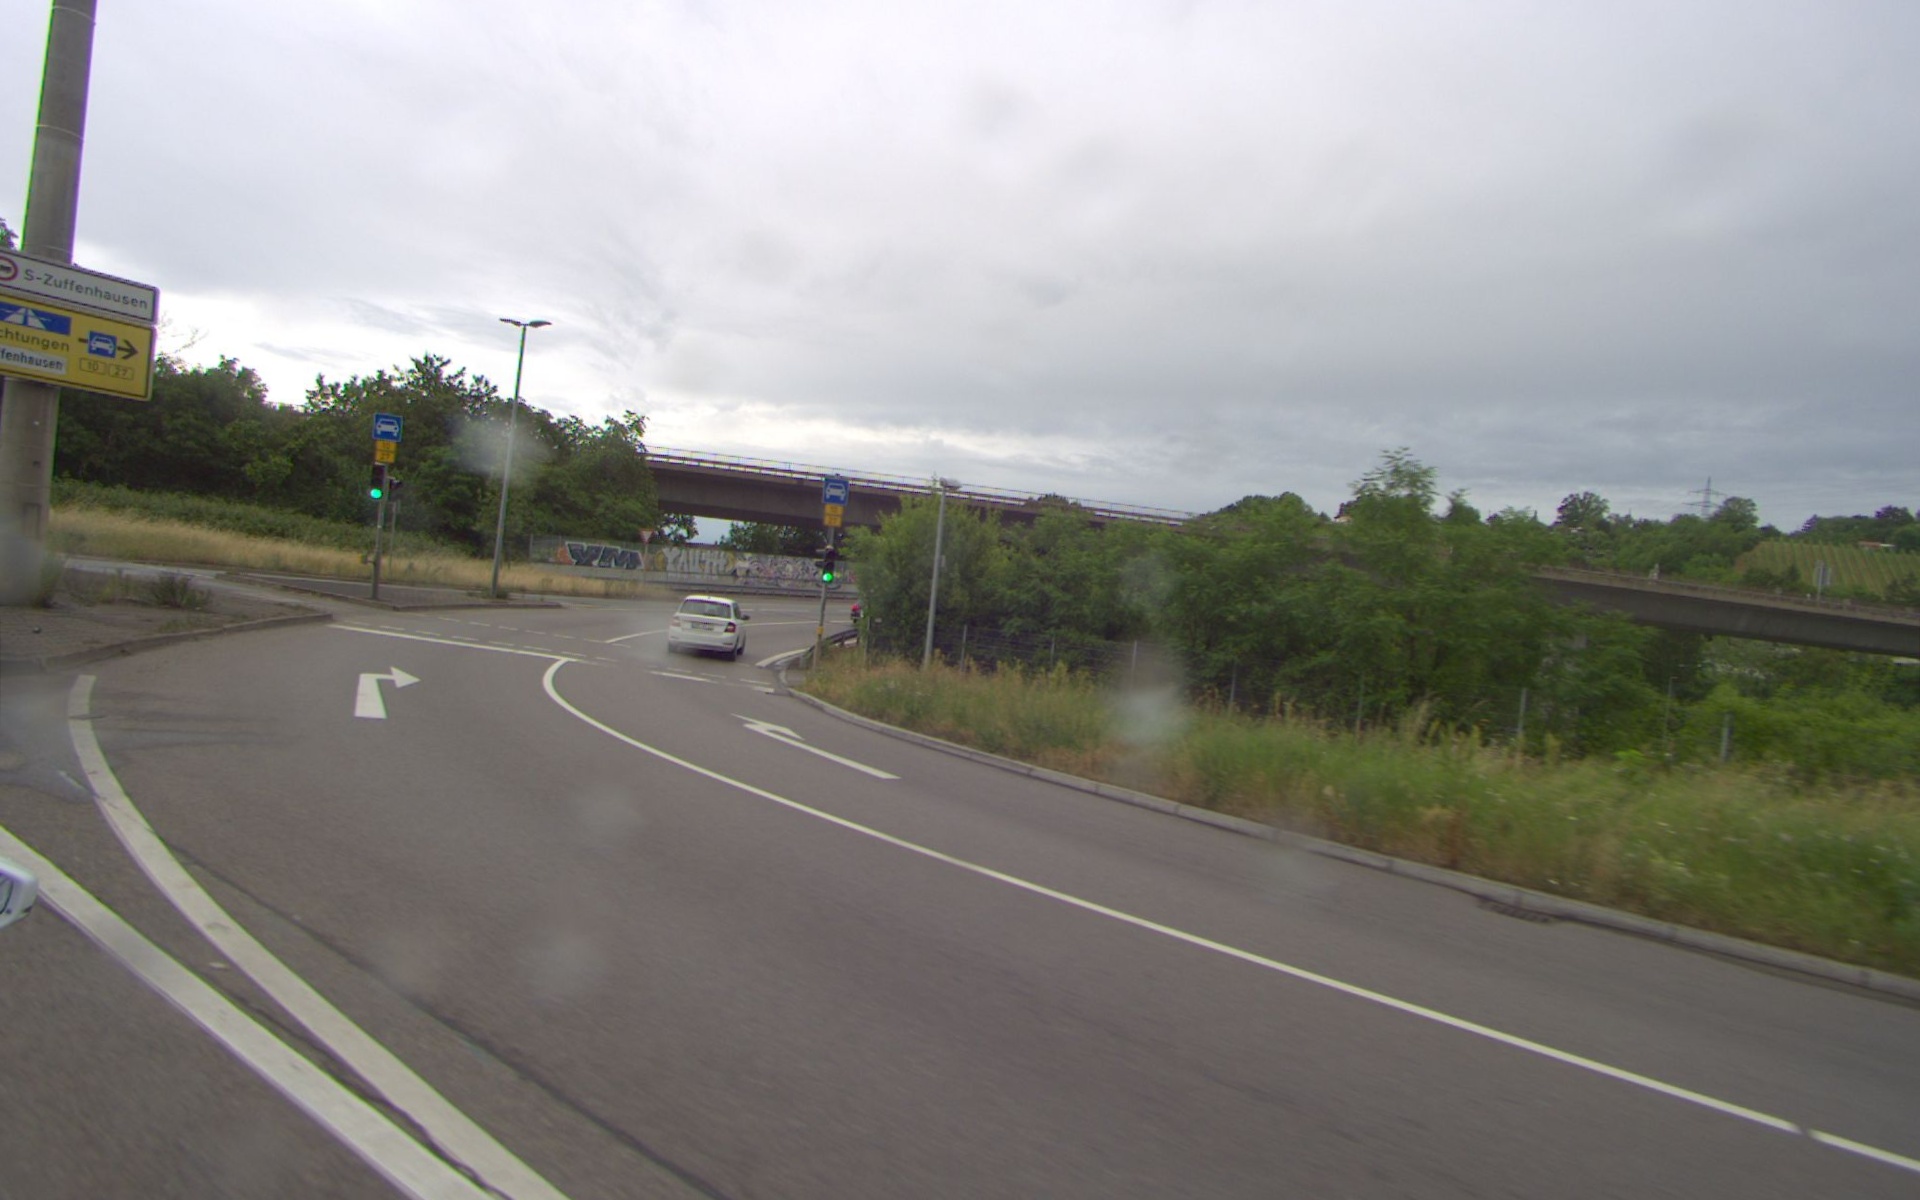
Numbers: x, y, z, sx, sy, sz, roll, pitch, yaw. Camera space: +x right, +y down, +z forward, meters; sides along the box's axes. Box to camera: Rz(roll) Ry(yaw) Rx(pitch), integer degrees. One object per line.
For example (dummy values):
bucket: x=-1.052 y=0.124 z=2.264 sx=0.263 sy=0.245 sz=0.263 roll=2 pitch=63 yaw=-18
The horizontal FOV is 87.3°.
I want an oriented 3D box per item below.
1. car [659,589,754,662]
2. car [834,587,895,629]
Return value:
car: x=-6.366 y=0.582 z=25.639 sx=1.722 sy=1.475 sz=3.666 roll=9 pitch=0 yaw=-7
car: x=-4.243 y=0.316 z=45.349 sx=1.875 sy=1.555 sz=3.997 roll=8 pitch=2 yaw=4
